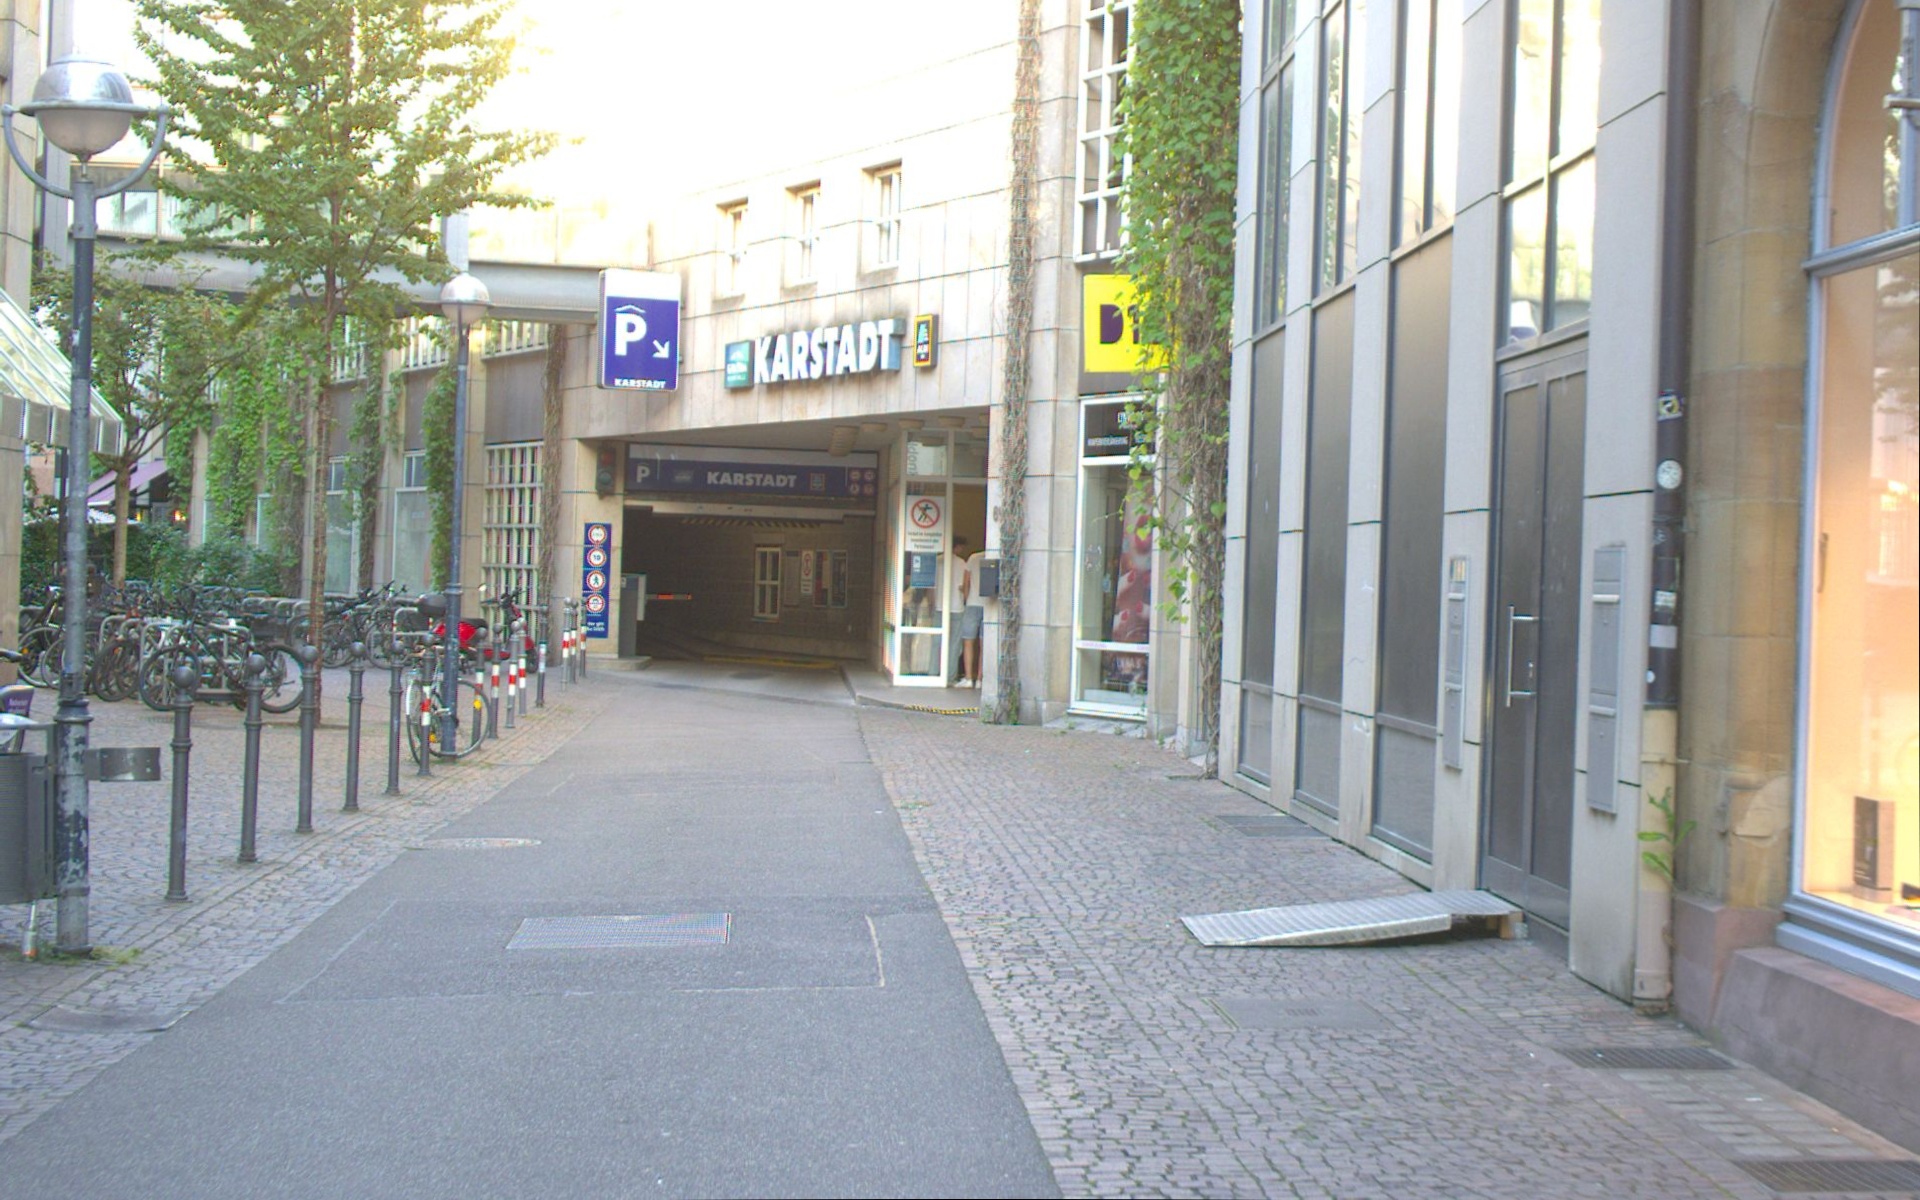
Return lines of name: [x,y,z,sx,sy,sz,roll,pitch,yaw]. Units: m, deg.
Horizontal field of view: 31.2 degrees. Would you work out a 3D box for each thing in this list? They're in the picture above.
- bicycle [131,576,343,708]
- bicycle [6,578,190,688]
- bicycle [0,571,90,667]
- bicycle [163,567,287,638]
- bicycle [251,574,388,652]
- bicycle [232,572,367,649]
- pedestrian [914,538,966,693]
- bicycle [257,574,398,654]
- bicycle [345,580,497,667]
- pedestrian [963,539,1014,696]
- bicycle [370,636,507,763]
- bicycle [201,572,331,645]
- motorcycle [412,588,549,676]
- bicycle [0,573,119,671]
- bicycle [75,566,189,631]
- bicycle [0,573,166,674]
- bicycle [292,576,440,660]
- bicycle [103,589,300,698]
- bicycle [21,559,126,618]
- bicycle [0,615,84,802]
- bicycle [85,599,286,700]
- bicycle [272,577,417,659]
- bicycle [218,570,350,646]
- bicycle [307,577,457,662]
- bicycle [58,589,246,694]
bicycle: [-7.188,0.415,34.165,1.912,1.256,0.809,1,0,-23]
bicycle: [-9.648,0.366,38.480,1.912,1.178,0.696,1,0,-19]
bicycle: [-12.132,0.231,43.851,1.912,1.178,0.696,1,0,-19]
bicycle: [-12.547,0.040,58.694,1.993,1.178,0.694,0,1,-22]
bicycle: [-9.922,0.191,53.252,1.993,1.178,0.694,0,1,-22]
bicycle: [-10.392,0.156,54.115,1.993,1.178,0.694,0,1,-22]
pedestrian: [-0.245,0.185,41.441,0.542,1.840,0.408,2,1,4]
bicycle: [-9.614,0.209,52.277,1.993,1.178,0.803,0,1,-22]
bicycle: [-7.526,0.322,48.037,1.993,1.178,0.696,0,1,-22]
pedestrian: [0.343,0.210,41.199,0.542,1.855,0.408,2,1,4]
bicycle: [-4.224,0.794,27.944,0.505,0.963,1.694,1,0,12]
bicycle: [-11.374,0.133,56.385,1.993,1.178,0.694,0,1,-22]
motorcycle: [-6.476,0.427,46.407,1.745,1.151,0.594,0,1,-19]
bicycle: [-11.514,0.262,42.835,1.912,1.178,0.696,1,0,-19]
bicycle: [-15.477,-0.038,64.236,1.993,1.178,0.694,0,1,-22]
bicycle: [-10.764,0.293,42.129,1.912,1.178,0.696,1,0,-19]
bicycle: [-8.594,0.245,49.731,1.993,1.178,0.803,0,1,-22]
bicycle: [-8.044,0.460,36.462,1.912,1.098,0.696,1,0,-23]
bicycle: [-17.902,-0.239,69.432,1.993,1.178,0.694,0,1,-22]
bicycle: [-6.083,0.656,20.974,0.694,1.108,1.776,1,0,12]
bicycle: [-8.002,0.515,35.544,1.912,0.991,0.696,1,0,-23]
bicycle: [-9.103,0.254,50.844,1.993,1.178,0.803,0,1,-22]
bicycle: [-10.875,0.121,55.331,1.993,1.178,0.694,0,1,-22]
bicycle: [-8.211,0.268,48.866,1.993,1.178,0.696,0,1,-22]
bicycle: [-8.837,0.453,37.615,1.912,1.098,0.696,1,0,-19]
